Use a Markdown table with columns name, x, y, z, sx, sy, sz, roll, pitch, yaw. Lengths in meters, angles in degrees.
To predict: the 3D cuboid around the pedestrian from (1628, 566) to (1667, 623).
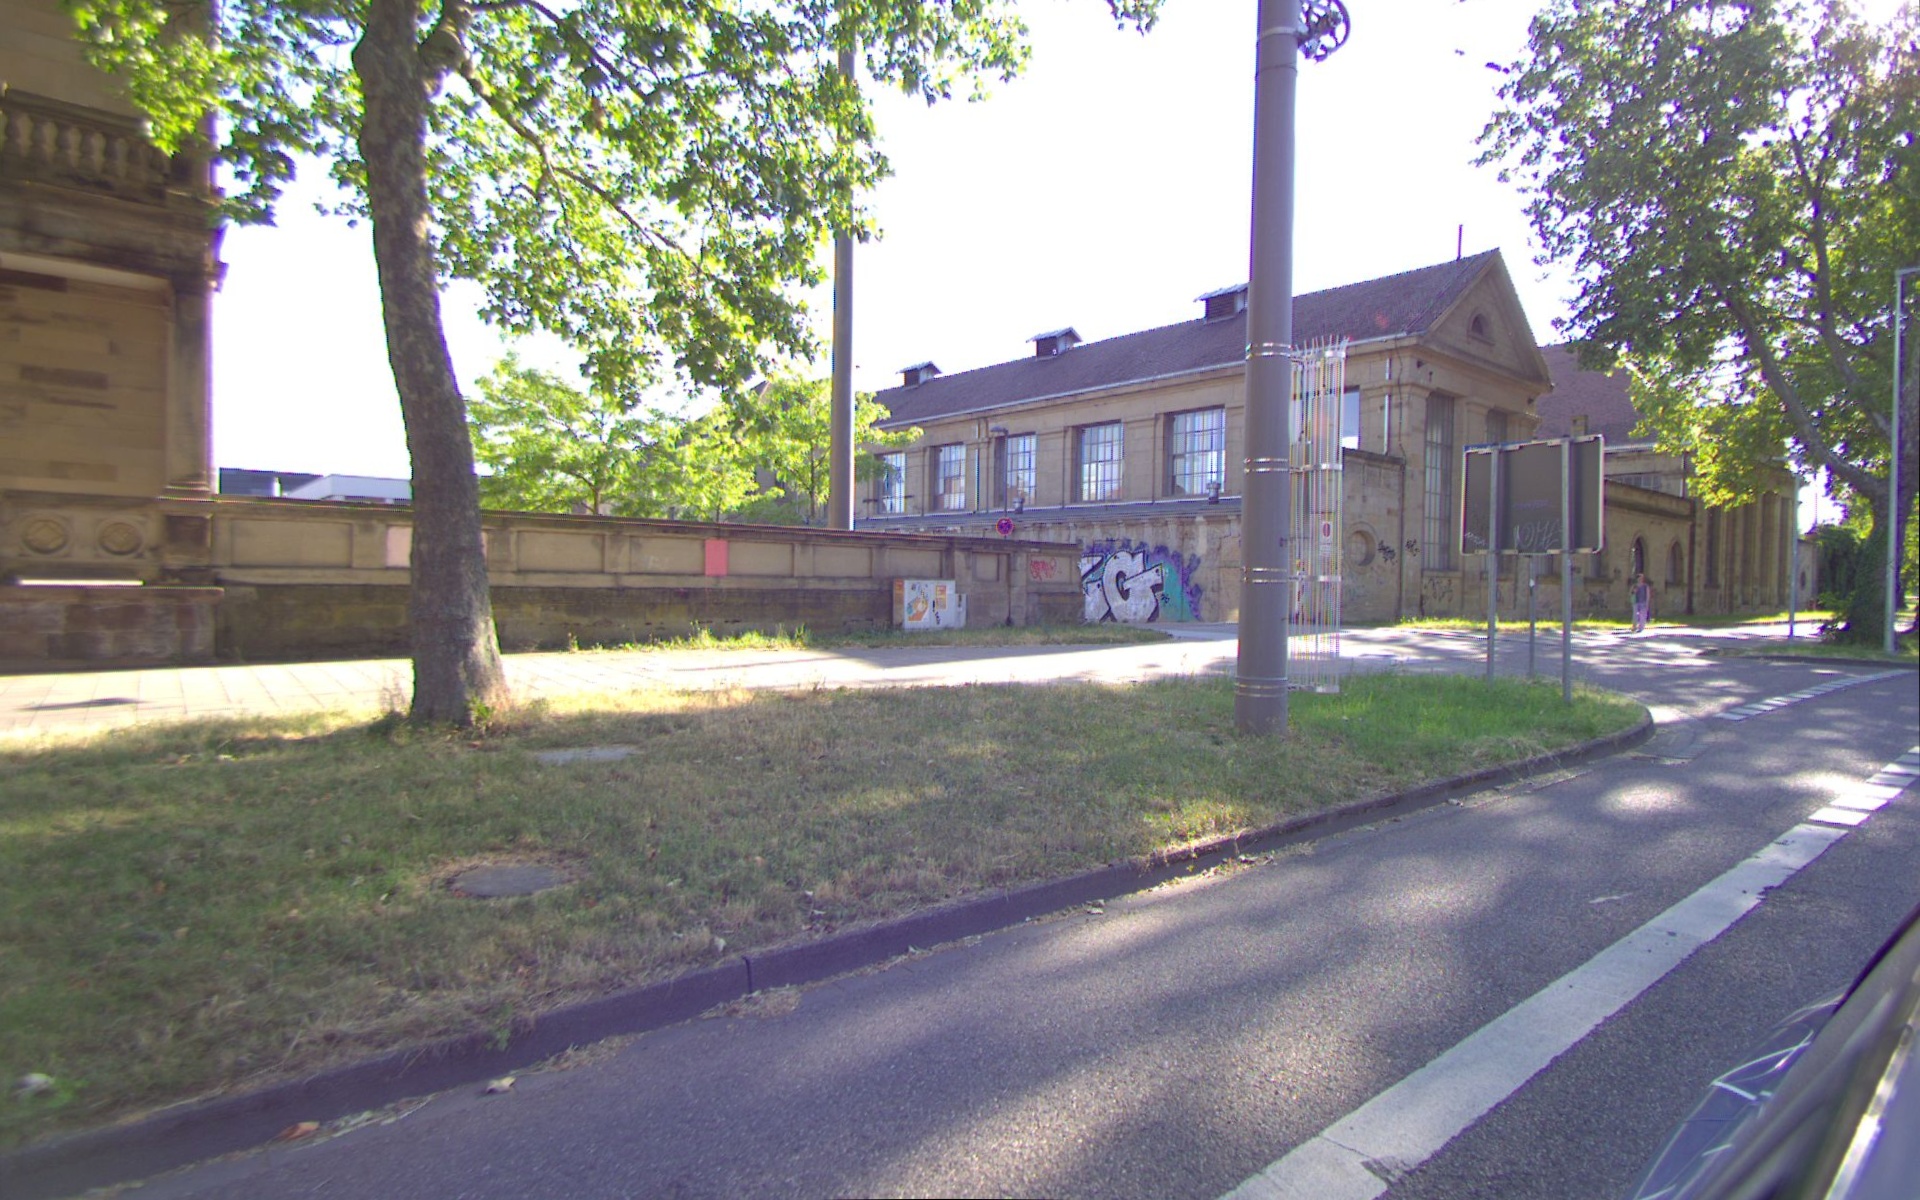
| name | x | y | z | sx | sy | sz | roll | pitch | yaw |
| --- | --- | --- | --- | --- | --- | --- | --- | --- | --- |
| pedestrian | 20.534 | -0.171 | 30.223 | 0.858 | 1.682 | 0.672 | 0 | 2 | -38 |
